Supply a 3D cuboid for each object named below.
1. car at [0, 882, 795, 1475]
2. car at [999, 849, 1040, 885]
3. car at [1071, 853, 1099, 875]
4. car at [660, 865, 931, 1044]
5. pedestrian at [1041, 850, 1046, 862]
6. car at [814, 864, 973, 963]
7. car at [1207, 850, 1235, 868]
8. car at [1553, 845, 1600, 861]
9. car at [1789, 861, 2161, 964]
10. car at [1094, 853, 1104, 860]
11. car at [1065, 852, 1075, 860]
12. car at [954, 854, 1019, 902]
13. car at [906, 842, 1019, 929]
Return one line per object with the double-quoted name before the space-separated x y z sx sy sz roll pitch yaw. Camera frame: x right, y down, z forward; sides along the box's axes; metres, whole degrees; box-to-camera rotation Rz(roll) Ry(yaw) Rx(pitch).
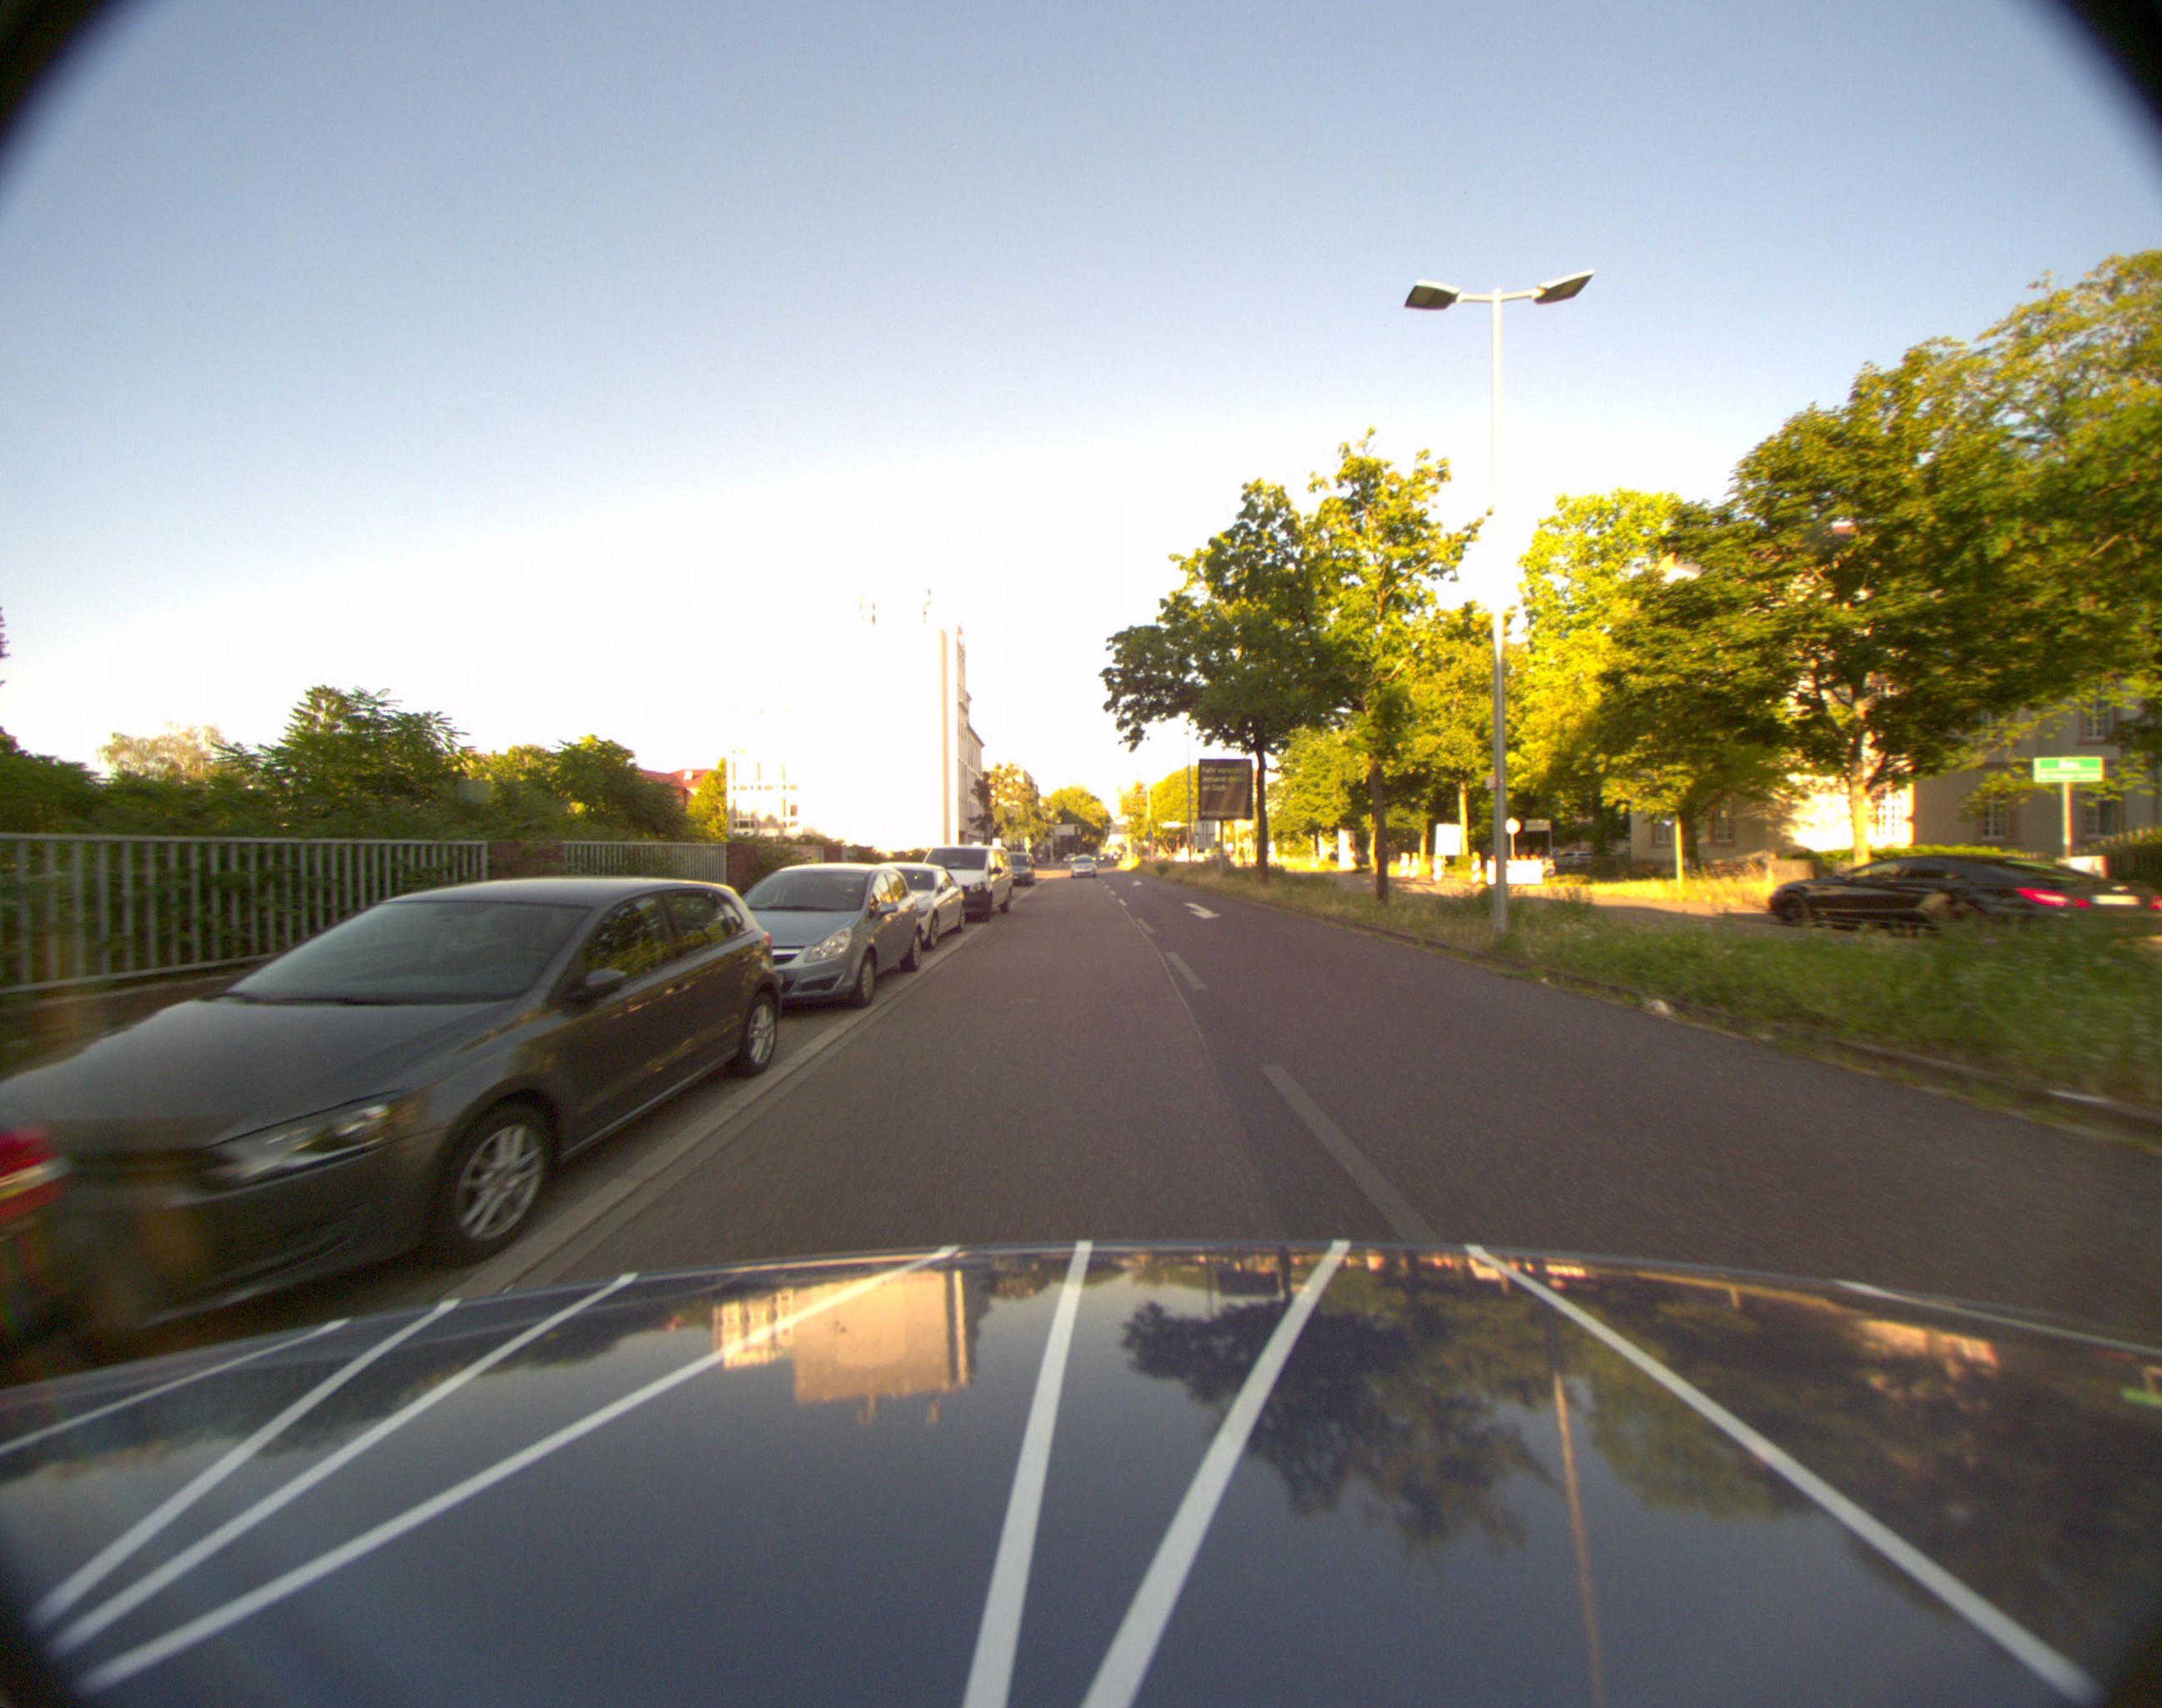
"car" -3.149 0.983 4.038 1.751 1.418 3.839 2 1 0
"car" -3.352 0.673 41.971 1.778 1.818 4.555 2 1 1
"car" 0.276 0.694 54.023 1.895 1.455 3.965 0 0 0
"car" -2.993 0.955 8.884 1.705 1.479 3.892 2 1 -1
"pedestrian" -6.174 0.333 125.582 0.721 1.835 0.748 0 1 -2
"car" -3.276 0.966 14.252 1.732 1.377 4.642 2 1 0
"car" 12.294 0.409 66.924 1.778 1.409 4.007 2 1 1
"car" 45.528 -0.073 69.924 1.698 1.368 4.000 -3 0 1
"car" 14.236 0.826 12.317 1.778 1.266 4.007 2 1 1
"car" 3.485 0.432 148.695 1.948 1.259 4.163 0 0 -1
"car" -2.112 0.337 149.367 1.948 1.514 4.163 0 0 -1
"car" -3.414 0.838 28.296 1.778 1.565 4.499 2 0 1
"car" -2.946 0.707 20.050 1.892 1.907 5.179 2 1 2
